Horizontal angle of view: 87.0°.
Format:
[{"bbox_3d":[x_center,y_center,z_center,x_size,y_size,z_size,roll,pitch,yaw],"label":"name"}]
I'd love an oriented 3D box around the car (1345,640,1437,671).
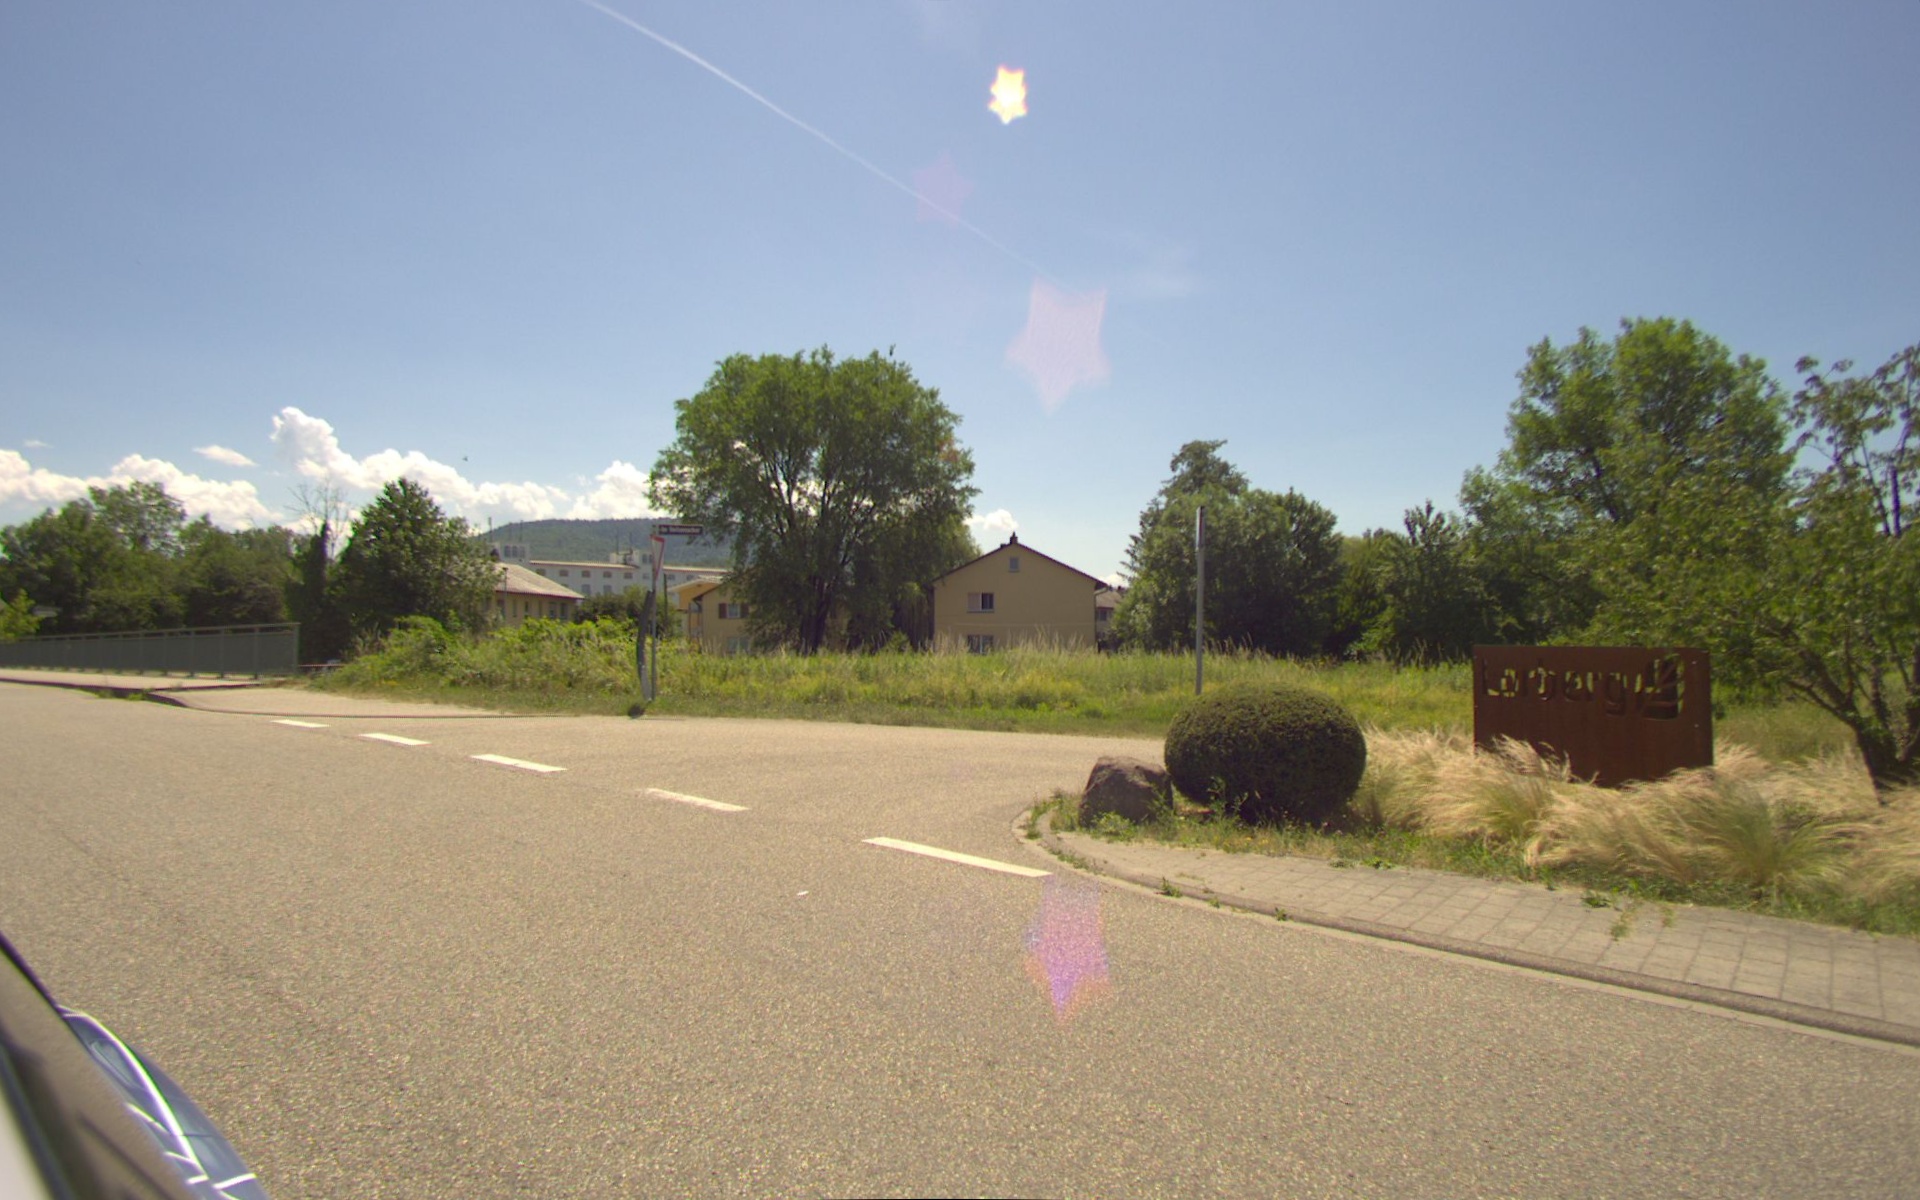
[{"bbox_3d":[23.017,2.973,54.141,3.940,1.608,2.002,0,-3,-4],"label":"car"}]
